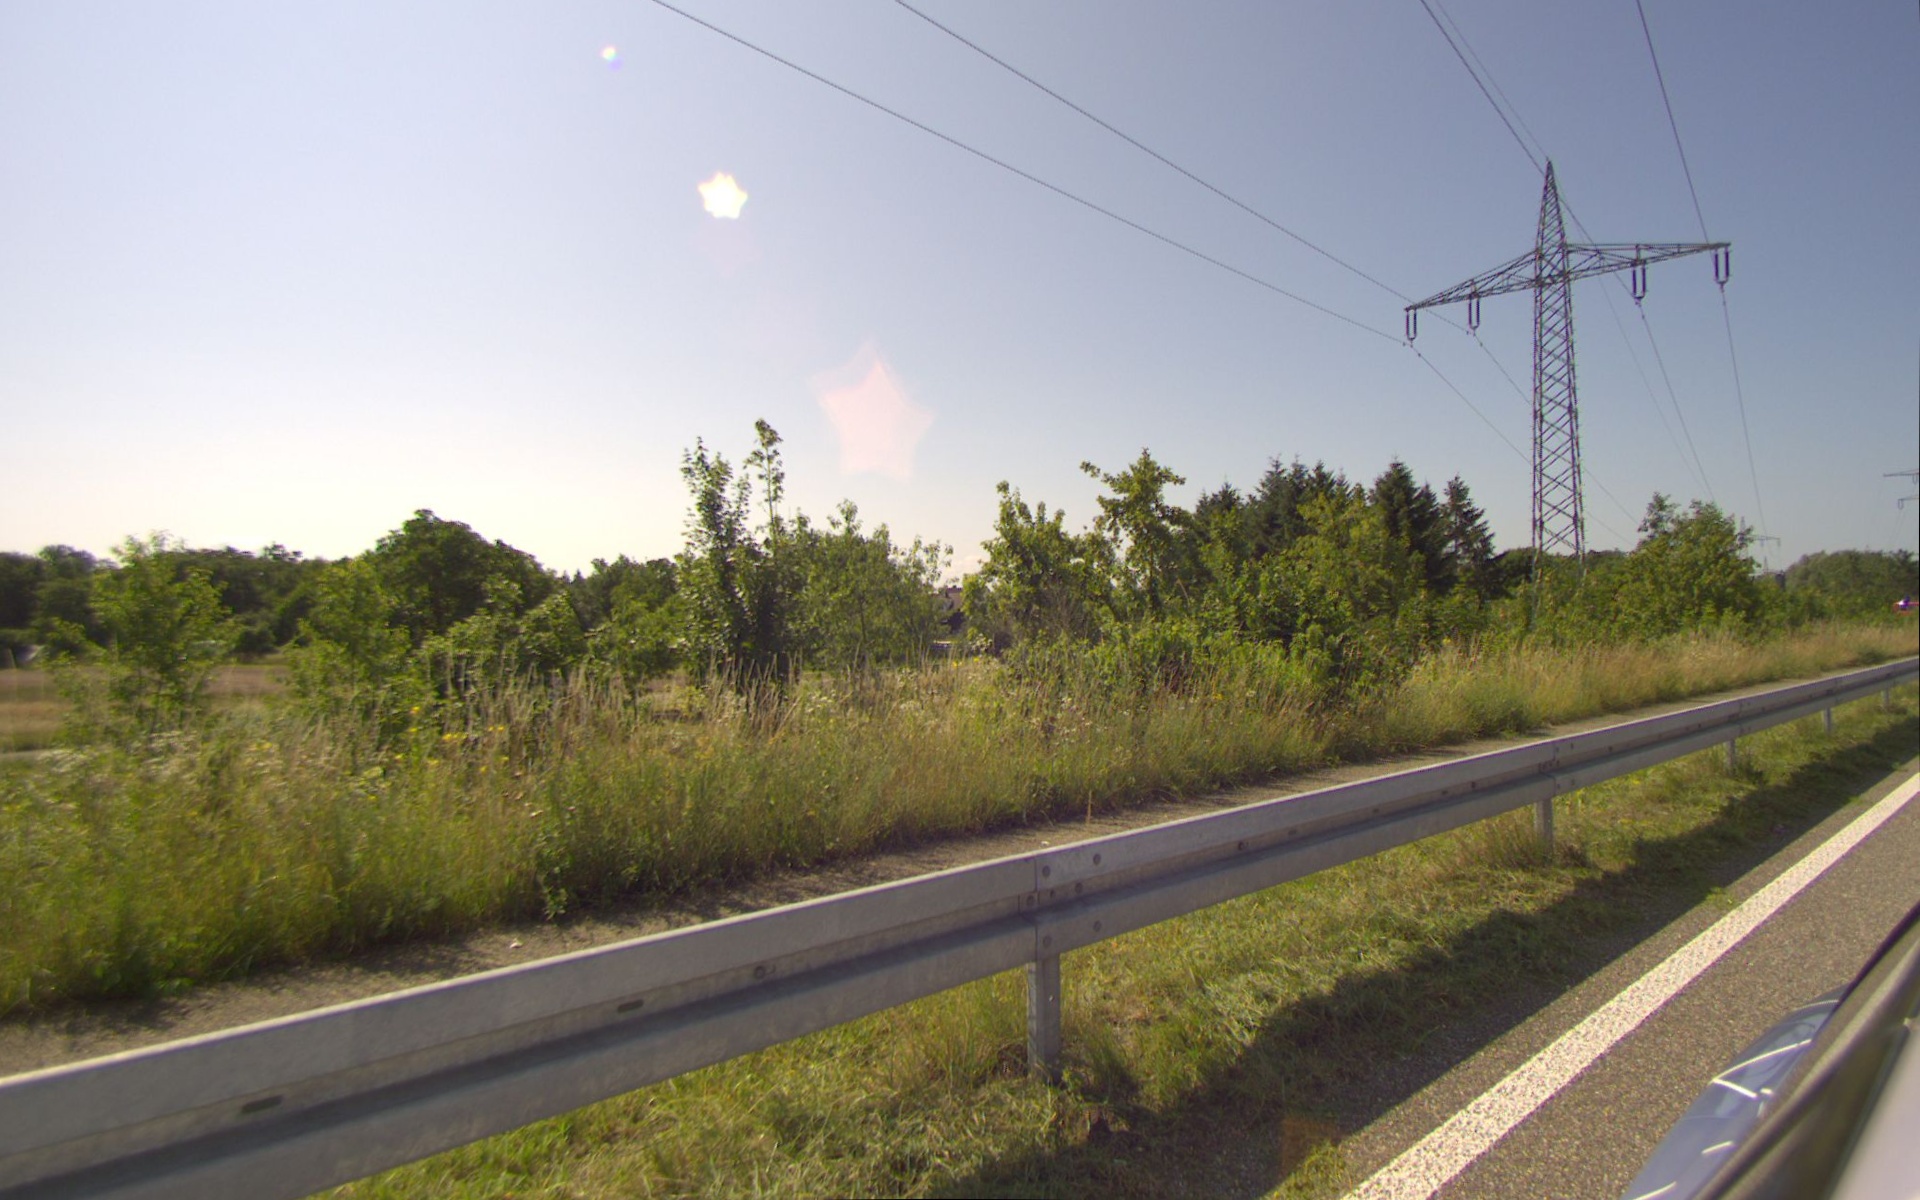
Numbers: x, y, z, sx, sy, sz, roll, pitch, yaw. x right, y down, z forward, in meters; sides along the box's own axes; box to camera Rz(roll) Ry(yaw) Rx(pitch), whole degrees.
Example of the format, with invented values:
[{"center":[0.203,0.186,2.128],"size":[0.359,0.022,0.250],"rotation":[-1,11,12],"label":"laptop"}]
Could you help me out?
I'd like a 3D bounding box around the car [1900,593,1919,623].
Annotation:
[{"center":[64.210,0.585,65.346],"size":[1.758,1.927,4.848],"rotation":[1,1,-22],"label":"car"}]
